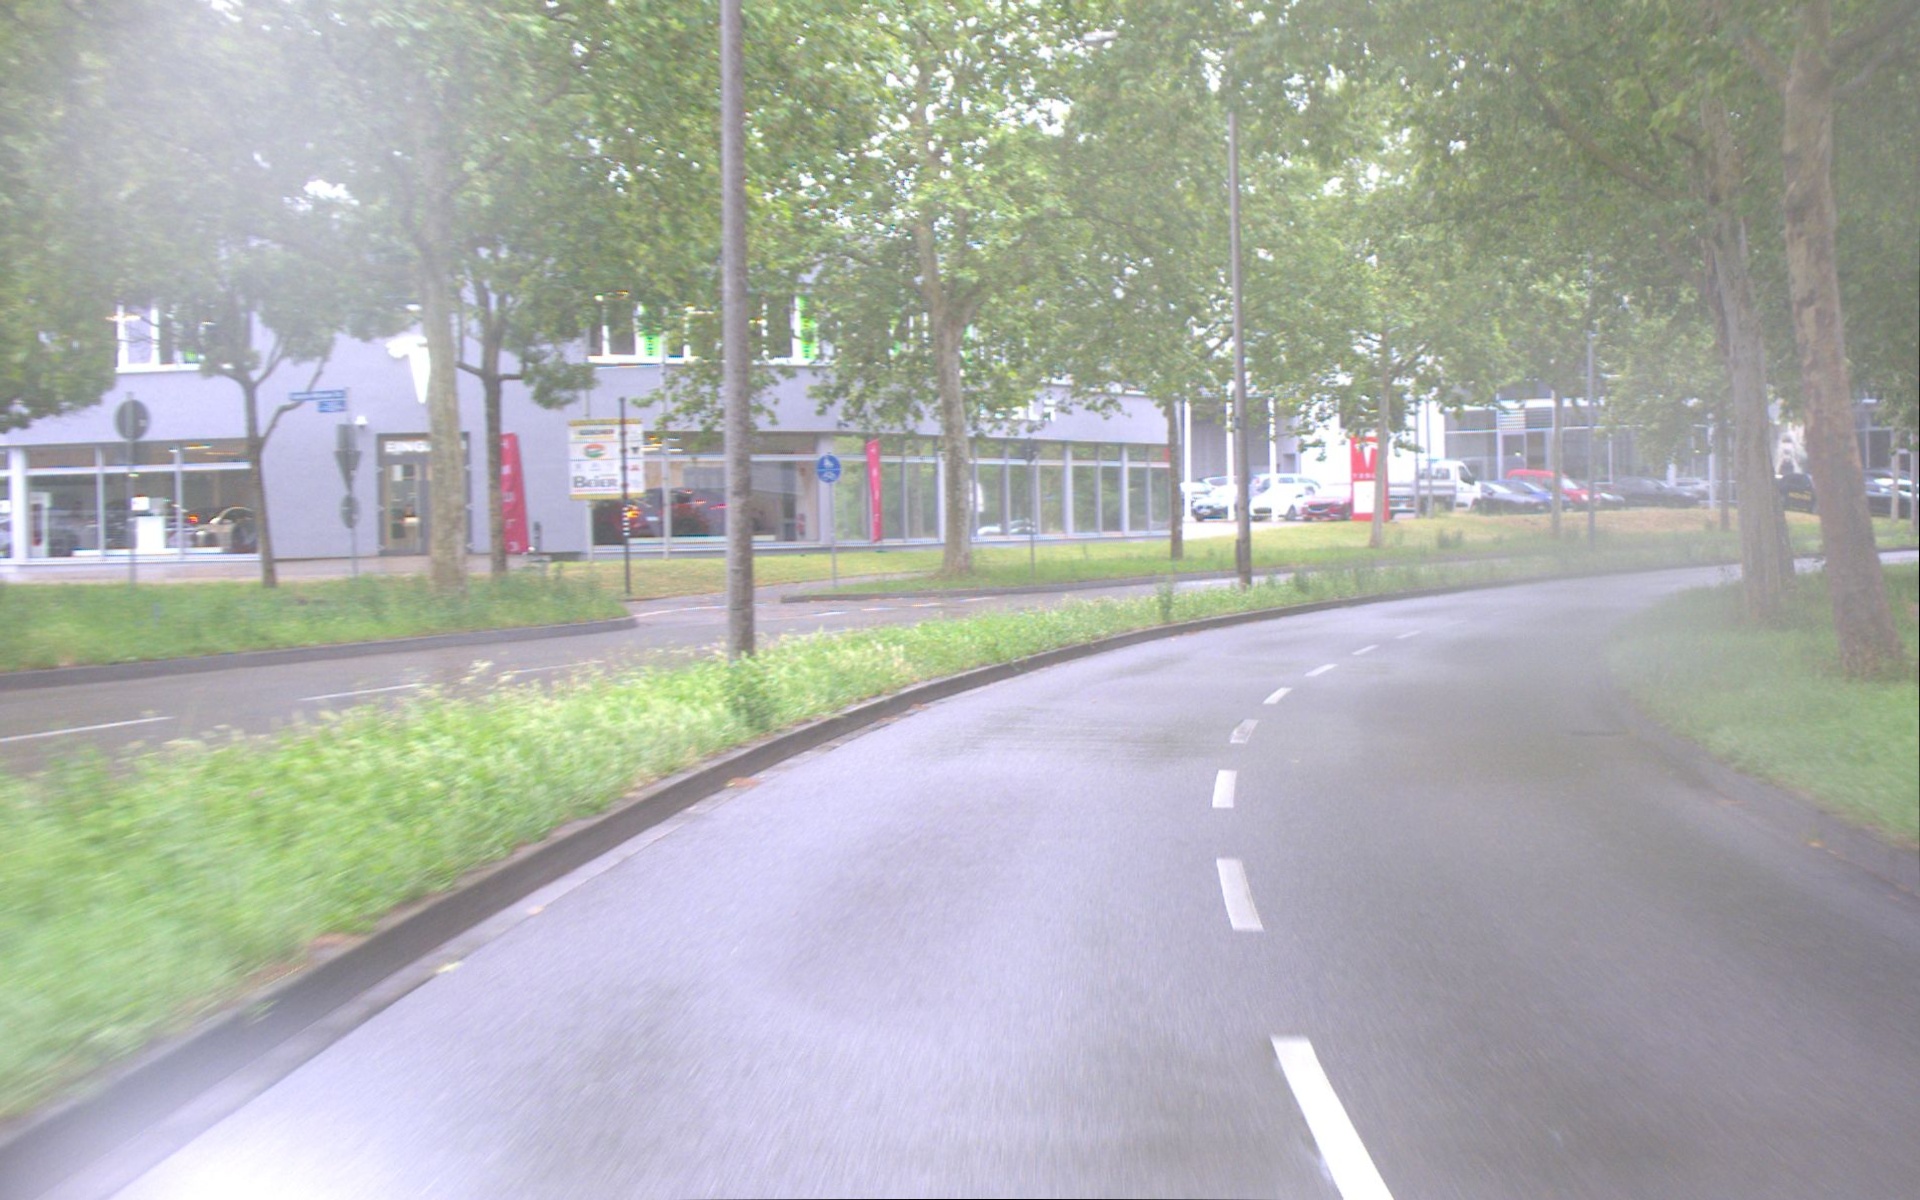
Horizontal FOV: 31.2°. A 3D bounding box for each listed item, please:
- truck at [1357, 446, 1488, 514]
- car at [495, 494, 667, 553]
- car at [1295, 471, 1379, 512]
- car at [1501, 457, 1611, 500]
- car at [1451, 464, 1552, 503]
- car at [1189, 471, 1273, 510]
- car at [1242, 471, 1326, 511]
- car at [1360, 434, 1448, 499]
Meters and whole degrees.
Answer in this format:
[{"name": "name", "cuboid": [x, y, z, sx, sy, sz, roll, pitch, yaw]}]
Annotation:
[{"name": "truck", "cuboid": [18.028, -4.702, 133.857, 2.252, 2.336, 6.182, 5, 6, 37]}, {"name": "car", "cuboid": [-9.635, -1.944, 87.317, 4.198, 1.489, 1.595, 1, 2, 30]}, {"name": "car", "cuboid": [14.842, -4.277, 135.281, 1.766, 1.462, 4.151, 2, 5, 30]}, {"name": "car", "cuboid": [24.447, -4.989, 141.066, 4.005, 1.551, 1.844, 5, 6, 36]}, {"name": "car", "cuboid": [21.580, -4.654, 136.969, 3.531, 1.322, 1.765, 5, 6, 36]}, {"name": "car", "cuboid": [10.930, -4.420, 138.648, 1.766, 1.392, 4.151, 2, 5, 30]}, {"name": "car", "cuboid": [12.959, -4.365, 137.440, 1.766, 1.392, 4.151, 2, 5, 30]}, {"name": "car", "cuboid": [19.644, -5.918, 152.239, 2.163, 2.742, 5.341, 0, 3, -12]}]
